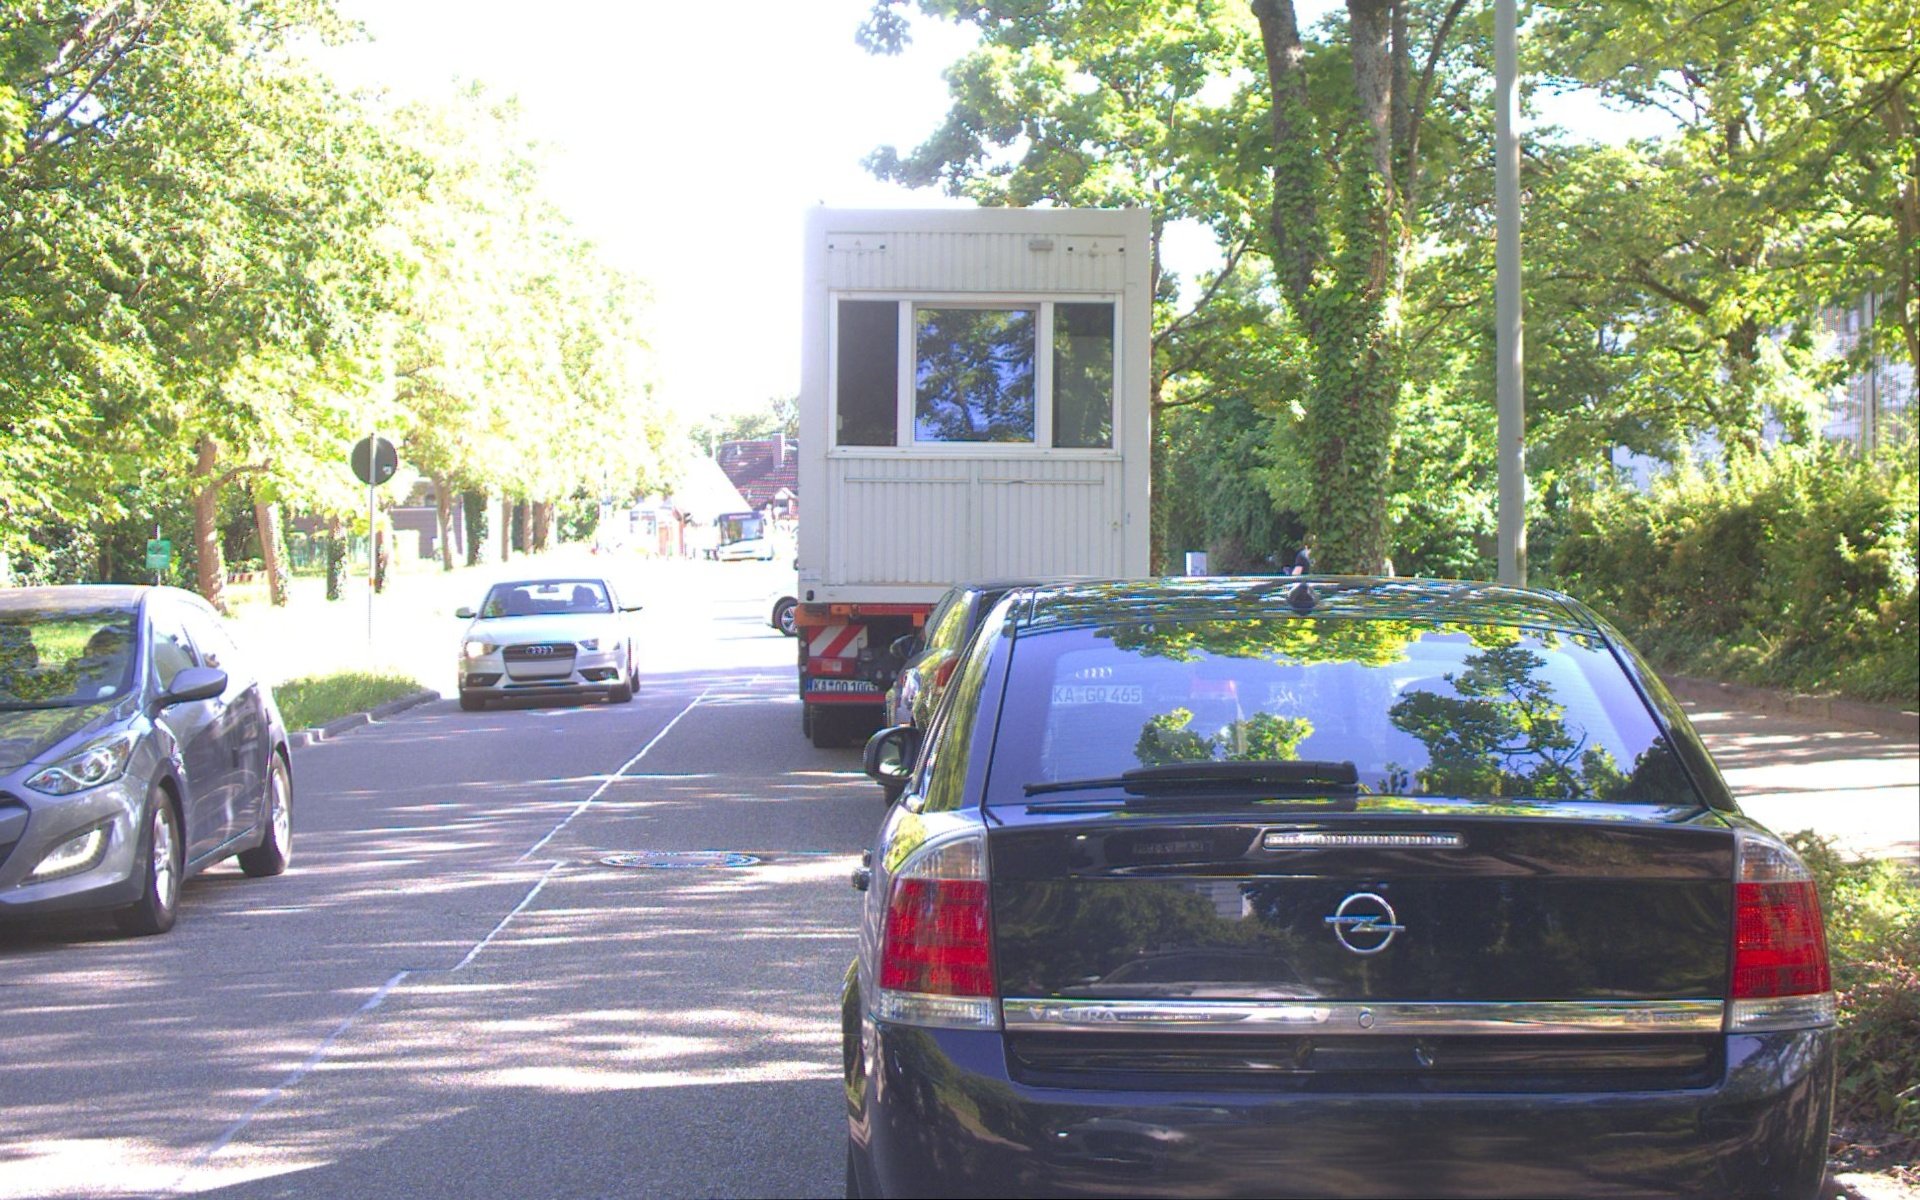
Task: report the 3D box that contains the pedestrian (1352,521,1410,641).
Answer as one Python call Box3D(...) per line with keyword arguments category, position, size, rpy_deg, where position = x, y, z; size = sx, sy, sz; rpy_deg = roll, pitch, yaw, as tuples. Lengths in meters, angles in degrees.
Box3D(category="pedestrian", position=(6.436, -0.297, 52.524), size=(0.698, 1.806, 0.700), rpy_deg=(-2, 1, -5))

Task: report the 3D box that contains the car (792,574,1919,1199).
Box3D(category="car", position=(0.619, 0.686, 7.332), size=(1.748, 1.475, 4.030), rpy_deg=(0, 1, 0))

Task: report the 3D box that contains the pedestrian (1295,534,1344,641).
Box3D(category="pedestrian", position=(5.486, -0.191, 52.492), size=(0.598, 1.605, 0.600), rpy_deg=(-2, 1, -5))

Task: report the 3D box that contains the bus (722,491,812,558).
Box3D(category="bus", position=(-10.285, -4.068, 184.172), size=(4.065, 3.337, 9.801), rpy_deg=(-2, 1, 1))

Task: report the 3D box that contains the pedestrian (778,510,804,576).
Box3D(category="pedestrian", position=(-5.445, -1.823, 110.583), size=(0.752, 2.106, 0.799), rpy_deg=(1, 1, 1))

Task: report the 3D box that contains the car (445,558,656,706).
Box3D(category="car", position=(-4.409, 0.306, 37.562), size=(1.786, 1.412, 4.105), rpy_deg=(-2, 1, 0))

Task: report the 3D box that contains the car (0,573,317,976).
Box3D(category="car", position=(-4.142, 0.675, 15.243), size=(1.755, 1.449, 4.243), rpy_deg=(-2, 1, 0))

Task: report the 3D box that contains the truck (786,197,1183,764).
Box3D(category="truck", position=(-0.030, -0.949, 29.465), size=(2.772, 3.982, 10.350), rpy_deg=(0, 1, -2))

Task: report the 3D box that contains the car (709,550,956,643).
Box3D(category="car", position=(-2.172, -0.050, 57.977), size=(3.955, 1.415, 1.807), rpy_deg=(-2, 2, 41))

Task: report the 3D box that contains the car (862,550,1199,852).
Box3D(category="car", position=(0.370, 0.480, 19.288), size=(1.640, 1.415, 4.000), rpy_deg=(-2, 1, 1))
